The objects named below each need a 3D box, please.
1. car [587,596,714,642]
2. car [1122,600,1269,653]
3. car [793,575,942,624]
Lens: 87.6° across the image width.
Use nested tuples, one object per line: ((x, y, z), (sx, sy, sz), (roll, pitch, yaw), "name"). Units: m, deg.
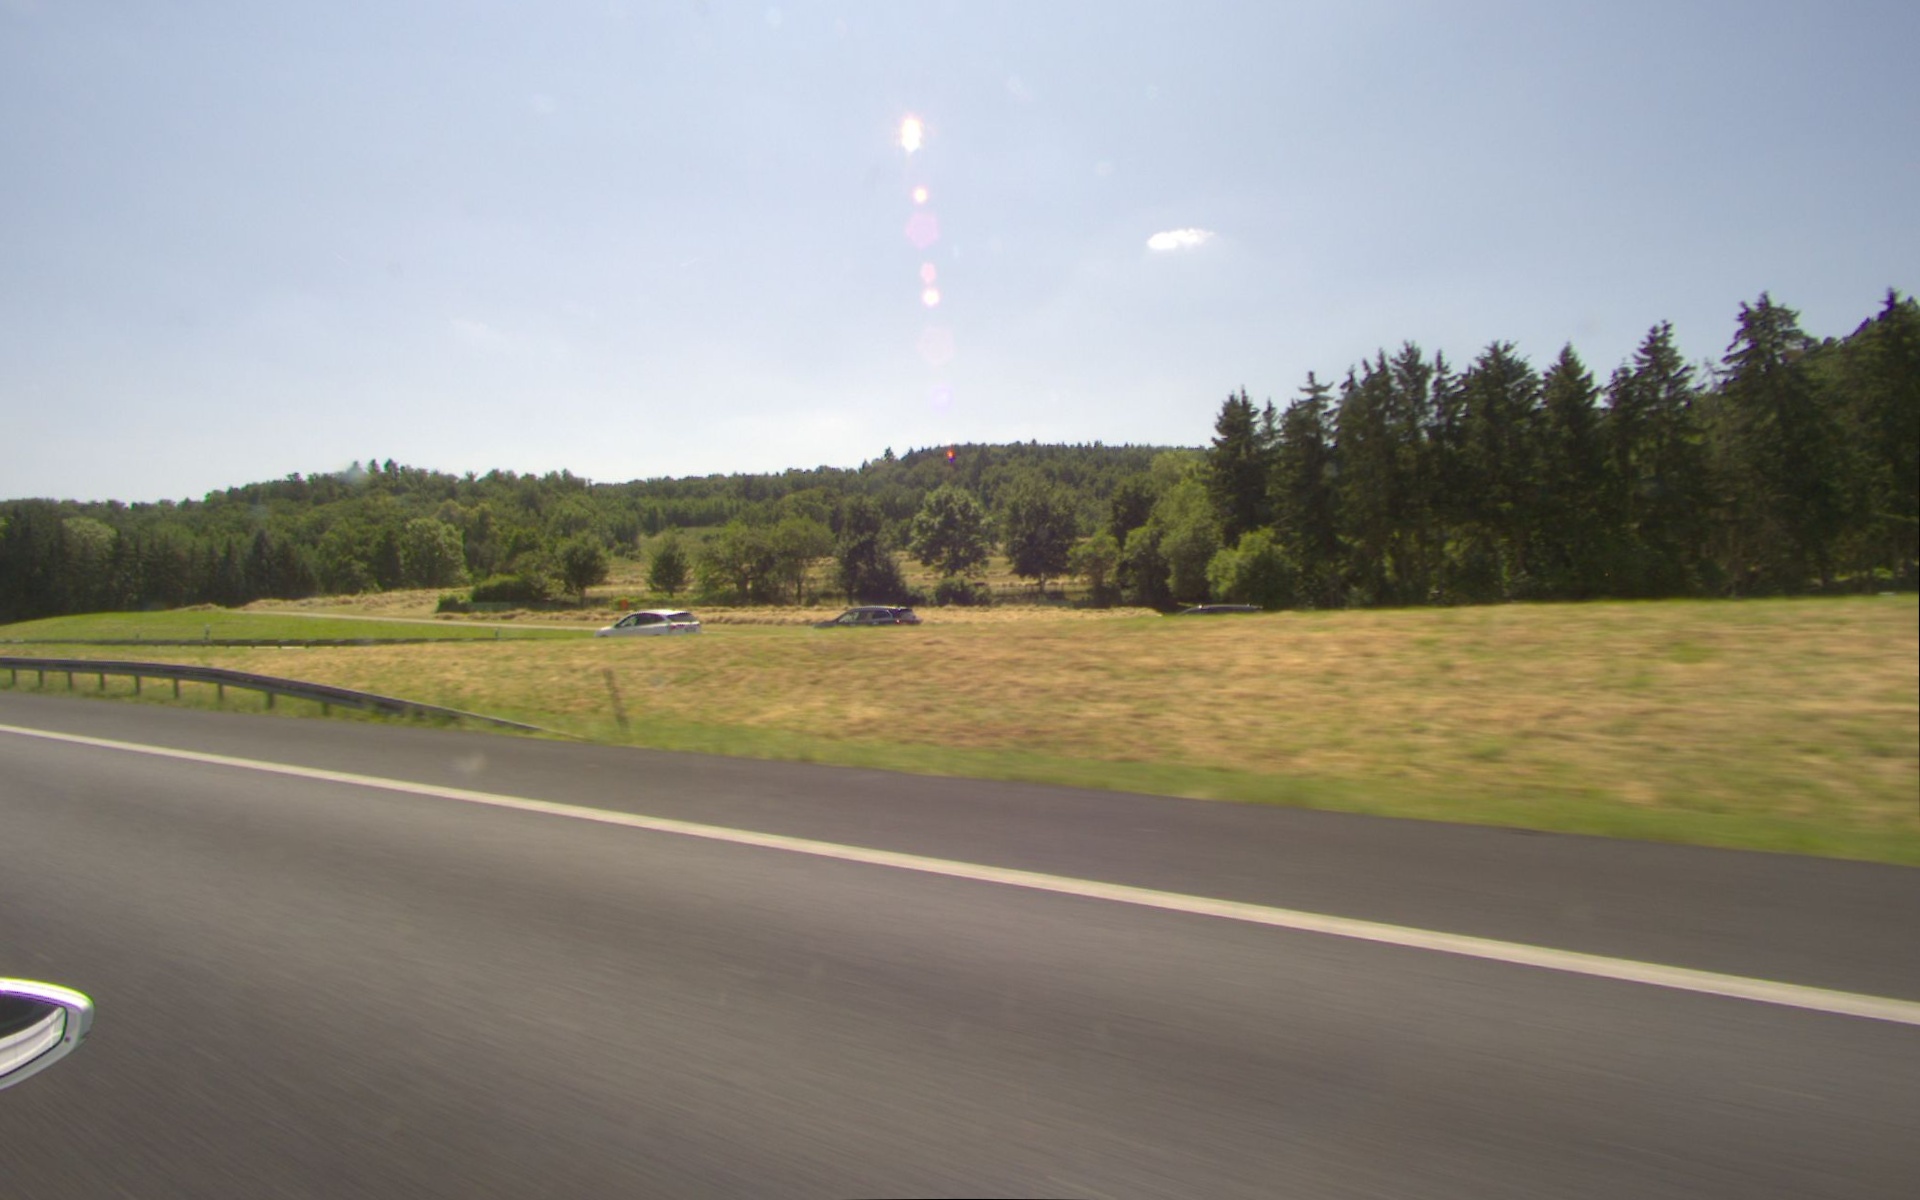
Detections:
((-11.841, 0.774, 38.326), (4.393, 1.683, 1.995), (-1, -2, 23), "car")
((6.870, 0.811, 29.225), (3.903, 1.453, 1.795), (-1, -2, 26), "car")
((-3.562, 0.035, 38.205), (5.542, 1.683, 1.992), (-1, -2, 29), "car")
